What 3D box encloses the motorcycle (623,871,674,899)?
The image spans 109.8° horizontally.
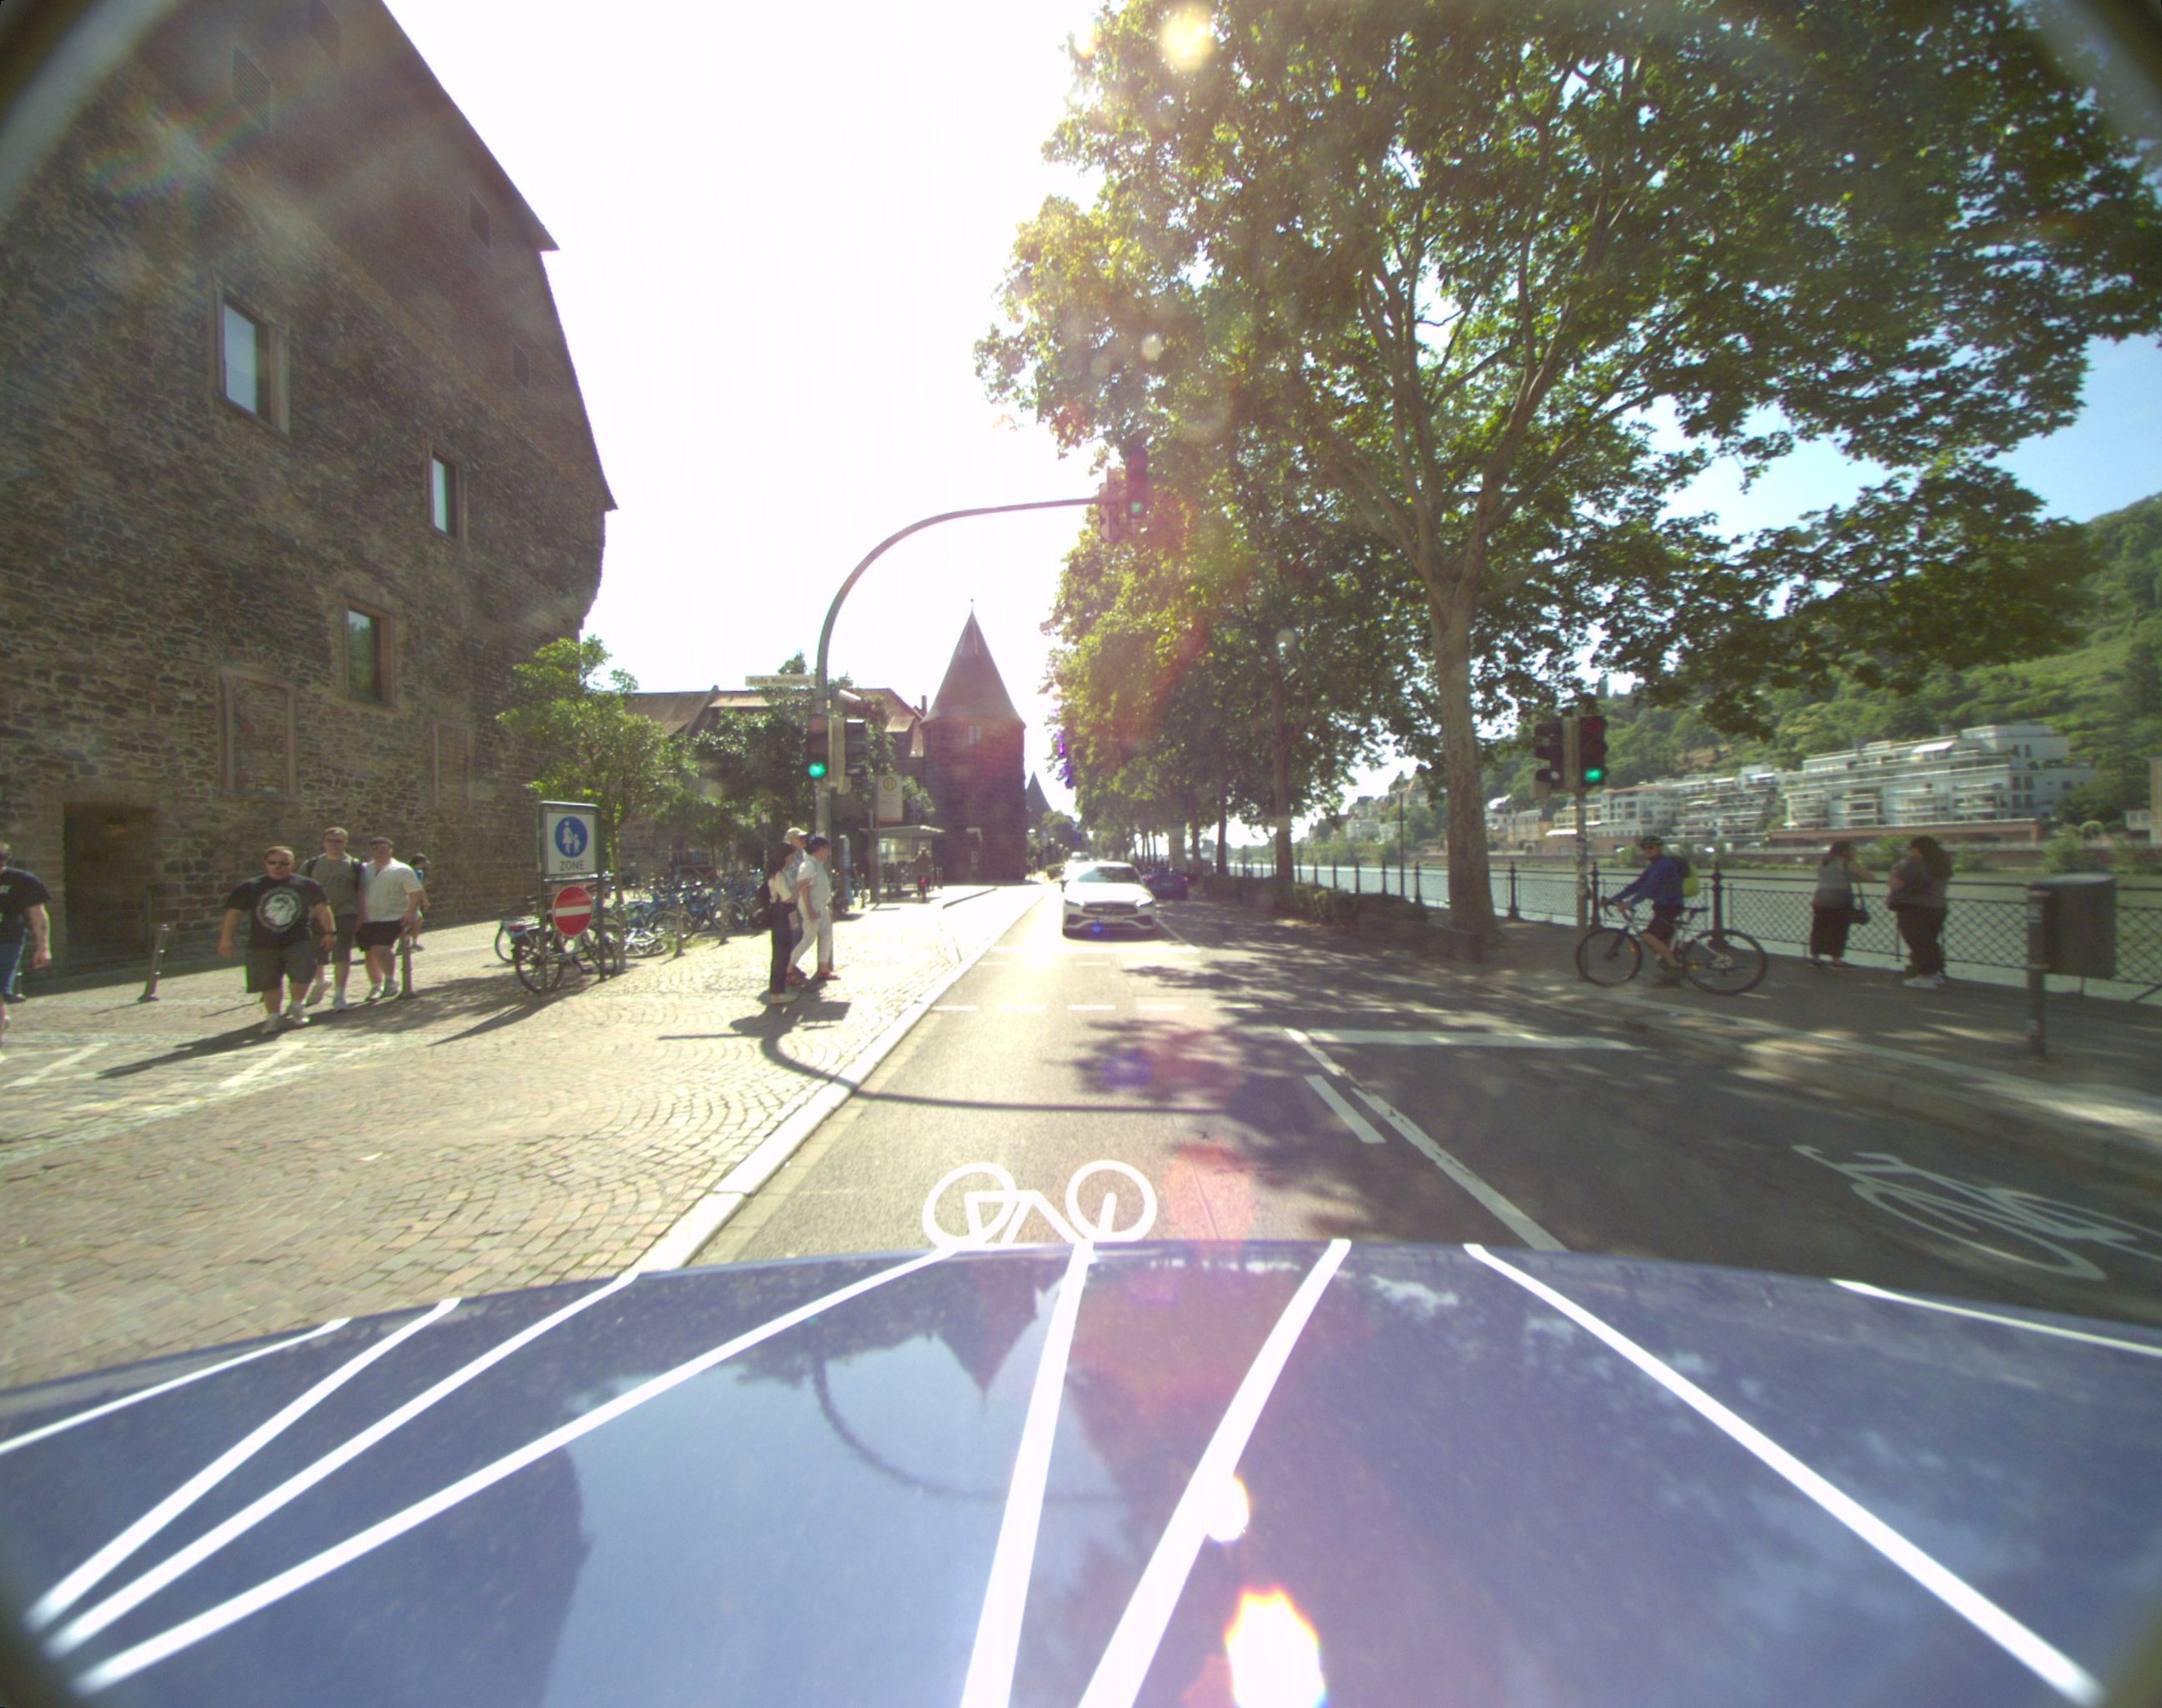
[{"bbox_3d":[-20.477,1.451,36.018,0.598,1.229,2.050,0,1,26],"label":"motorcycle"}]

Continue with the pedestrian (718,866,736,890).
[{"bbox_3d":[-21.843,1.475,46.859,0.660,1.413,0.675,0,2,31],"label":"pedestrian"}]

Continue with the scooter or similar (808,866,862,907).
[{"bbox_3d":[-7.714,1.008,23.858,1.434,1.208,0.652,-3,1,0],"label":"scooter or similar"}]

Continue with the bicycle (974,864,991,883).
[{"bbox_3d":[-6.188,1.232,47.886,0.845,1.146,1.844,-1,0,0],"label":"bicycle"}]

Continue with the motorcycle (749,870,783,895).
[{"bbox_3d":[-14.714,1.325,35.533,0.877,1.087,1.904,-1,0,-3],"label":"motorcycle"}]

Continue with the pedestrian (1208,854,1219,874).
[{"bbox_3d":[8.836,0.666,50.624,0.633,1.312,0.553,-1,1,0],"label":"pedestrian"}]

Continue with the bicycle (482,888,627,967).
[{"bbox_3d":[-8.116,1.125,11.748,1.797,1.104,0.563,-2,0,-1],"label":"bicycle"}]

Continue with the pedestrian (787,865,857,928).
[{"bbox_3d":[-5.555,0.896,16.359,1.250,1.300,0.693,-1,1,-2],"label":"pedestrian"}]

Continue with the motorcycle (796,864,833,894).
[{"bbox_3d":[-11.976,1.100,34.242,0.740,1.229,2.272,-1,0,3],"label":"motorcycle"}]

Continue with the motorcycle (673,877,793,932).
[{"bbox_3d":[-7.590,1.090,16.643,2.210,1.097,0.776,-2,0,-1],"label":"motorcycle"}]

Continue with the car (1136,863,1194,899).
[{"bbox_3d":[3.385,1.077,31.471,1.845,1.262,4.261,2,0,0],"label":"car"}]

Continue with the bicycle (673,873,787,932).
[{"bbox_3d":[-7.654,1.045,16.642,2.085,1.191,0.776,-2,0,-1],"label":"bicycle"}]

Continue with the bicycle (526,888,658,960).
[{"bbox_3d":[-8.260,1.166,12.875,1.797,1.104,0.608,-2,0,-1],"label":"bicycle"}]

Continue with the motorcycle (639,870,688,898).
[{"bbox_3d":[-19.778,1.420,36.028,0.598,1.229,2.050,0,1,26],"label":"motorcycle"}]

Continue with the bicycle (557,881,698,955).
[{"bbox_3d":[-8.050,1.125,13.535,2.085,1.191,0.608,-2,0,-1],"label":"bicycle"}]

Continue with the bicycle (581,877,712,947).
[{"bbox_3d":[-8.059,1.073,14.137,2.085,1.191,0.527,-2,0,-1],"label":"bicycle"}]

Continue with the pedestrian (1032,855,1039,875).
[{"bbox_3d":[-4.283,0.981,70.959,0.556,1.844,1.023,-1,0,0],"label":"pedestrian"}]

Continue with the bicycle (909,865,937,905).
[{"bbox_3d":[-4.781,0.927,23.088,0.691,1.123,2.008,-1,0,-7],"label":"bicycle"}]

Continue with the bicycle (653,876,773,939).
[{"bbox_3d":[-7.645,1.098,15.858,2.085,1.191,0.776,-2,0,-1],"label":"bicycle"}]

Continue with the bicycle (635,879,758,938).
[{"bbox_3d":[-7.631,1.073,15.138,2.085,1.079,0.604,-2,0,-1],"label":"bicycle"}]

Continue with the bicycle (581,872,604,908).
[{"bbox_3d":[-16.534,1.189,25.747,0.548,1.146,1.922,-1,0,-30],"label":"bicycle"}]

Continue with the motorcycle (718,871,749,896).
[{"bbox_3d":[-15.759,1.337,34.484,0.631,1.074,1.929,-1,-1,-3],"label":"motorcycle"}]

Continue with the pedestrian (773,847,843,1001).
[{"bbox_3d":[-3.129,0.775,8.757,0.528,1.702,0.665,-1,1,0],"label":"pedestrian"}]

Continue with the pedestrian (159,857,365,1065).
[{"bbox_3d":[-7.596,0.920,7.087,0.925,1.755,0.991,-1,1,20],"label":"pedestrian"}]

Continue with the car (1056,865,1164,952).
[{"bbox_3d":[0.528,0.976,15.487,1.875,1.415,4.744,0,0,1],"label":"car"}]

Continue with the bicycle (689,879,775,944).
[{"bbox_3d":[-8.635,1.416,18.814,1.552,1.190,0.725,-15,-2,6],"label":"bicycle"}]

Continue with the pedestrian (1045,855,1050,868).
[{"bbox_3d":[-4.485,1.031,100.698,0.592,1.662,0.441,-1,0,0],"label":"pedestrian"}]

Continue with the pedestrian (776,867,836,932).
[{"bbox_3d":[-5.661,0.920,15.680,0.963,1.274,0.693,-1,1,-2],"label":"pedestrian"}]

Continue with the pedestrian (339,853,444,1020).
[{"bbox_3d":[-7.745,0.870,8.571,0.807,1.743,0.906,-1,1,-40],"label":"pedestrian"}]

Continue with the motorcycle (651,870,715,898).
[{"bbox_3d":[-17.586,1.322,33.598,2.342,1.140,0.878,-2,1,4],"label":"motorcycle"}]

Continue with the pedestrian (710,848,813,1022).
[{"bbox_3d":[-3.198,0.780,7.669,0.717,1.666,0.682,-1,1,0],"label":"pedestrian"}]

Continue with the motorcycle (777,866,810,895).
[{"bbox_3d":[-12.889,1.171,34.132,0.671,1.224,1.807,-2,-1,3],"label":"motorcycle"}]

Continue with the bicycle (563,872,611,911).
[{"bbox_3d":[-15.766,1.181,24.294,0.527,1.154,1.925,-1,0,-9],"label":"bicycle"}]

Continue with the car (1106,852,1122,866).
[{"bbox_3d":[4.182,0.679,97.390,1.875,1.661,4.745,0,-1,1],"label":"car"}]

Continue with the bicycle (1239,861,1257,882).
[{"bbox_3d":[9.708,1.021,44.213,0.564,1.146,1.844,-3,0,0],"label":"bicycle"}]

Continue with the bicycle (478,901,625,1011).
[{"bbox_3d":[-6.172,1.149,8.969,0.509,0.998,1.579,-2,3,2],"label":"bicycle"}]

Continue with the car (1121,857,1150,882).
[{"bbox_3d":[3.649,0.992,51.337,1.705,1.509,4.405,2,0,2],"label":"car"}]

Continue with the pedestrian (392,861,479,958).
[{"bbox_3d":[-12.093,1.010,14.264,0.760,1.750,0.960,-1,1,0],"label":"pedestrian"}]

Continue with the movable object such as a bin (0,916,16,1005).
[{"bbox_3d":[-14.081,1.373,9.480,0.490,1.117,0.751,-1,1,1],"label":"movable object such as a bin"}]

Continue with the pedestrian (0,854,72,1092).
[{"bbox_3d":[-9.143,0.972,6.346,0.788,1.930,0.807,0,1,38],"label":"pedestrian"}]

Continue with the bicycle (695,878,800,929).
[{"bbox_3d":[-7.634,1.114,17.459,2.029,1.059,0.801,-2,0,-1],"label":"bicycle"}]

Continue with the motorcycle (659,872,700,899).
[{"bbox_3d":[-18.777,1.465,35.593,0.742,1.138,2.020,-3,0,3],"label":"motorcycle"}]

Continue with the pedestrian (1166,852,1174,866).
[{"bbox_3d":[10.809,0.605,92.298,0.760,1.697,0.730,-1,1,0],"label":"pedestrian"}]

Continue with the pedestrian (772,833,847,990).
[{"bbox_3d":[-3.310,0.676,9.321,0.618,1.841,0.730,-1,1,1],"label":"pedestrian"}]

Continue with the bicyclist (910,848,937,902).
[{"bbox_3d":[-4.786,0.620,23.090,0.711,1.619,0.886,-1,1,-7],"label":"bicyclist"}]

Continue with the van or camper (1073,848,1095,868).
[{"bbox_3d":[0.292,0.445,88.586,2.437,2.271,6.203,-1,0,0],"label":"van or camper"}]

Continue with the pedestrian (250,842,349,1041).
[{"bbox_3d":[-8.223,0.862,8.022,0.657,1.949,0.937,-2,1,-45],"label":"pedestrian"}]

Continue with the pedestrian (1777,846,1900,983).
[{"bbox_3d":[9.402,0.715,9.467,0.550,1.599,0.911,-3,1,0],"label":"pedestrian"}]

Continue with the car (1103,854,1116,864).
[{"bbox_3d":[4.817,0.820,129.531,1.998,1.598,4.257,-1,0,0],"label":"car"}]

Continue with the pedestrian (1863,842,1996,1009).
[{"bbox_3d":[9.040,0.730,8.124,0.620,1.690,0.696,-2,1,0],"label":"pedestrian"}]

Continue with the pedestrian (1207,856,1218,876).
[{"bbox_3d":[8.787,0.811,50.830,0.633,1.312,0.553,0,1,0],"label":"pedestrian"}]

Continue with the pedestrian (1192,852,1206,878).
[{"bbox_3d":[7.982,0.760,51.460,0.760,1.720,0.730,-1,1,0],"label":"pedestrian"}]

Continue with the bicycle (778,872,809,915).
[{"bbox_3d":[-8.201,1.099,21.636,0.548,1.125,1.733,-1,0,-29],"label":"bicycle"}]

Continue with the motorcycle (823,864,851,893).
[{"bbox_3d":[-11.084,1.104,34.600,0.660,1.229,2.215,-1,0,-3],"label":"motorcycle"}]

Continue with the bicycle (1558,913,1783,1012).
[{"bbox_3d":[6.438,1.174,8.381,1.826,0.920,0.744,-6,-2,41],"label":"bicycle"}]

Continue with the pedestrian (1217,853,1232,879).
[{"bbox_3d":[9.568,0.788,50.667,0.793,1.673,0.709,-1,1,0],"label":"pedestrian"}]

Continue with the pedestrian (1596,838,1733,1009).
[{"bbox_3d":[6.464,0.750,8.432,1.022,1.761,0.770,-6,-3,41],"label":"pedestrian"}]

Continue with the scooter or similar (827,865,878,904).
[{"bbox_3d":[-7.609,1.008,25.333,1.434,1.208,0.652,-3,1,0],"label":"scooter or similar"}]
